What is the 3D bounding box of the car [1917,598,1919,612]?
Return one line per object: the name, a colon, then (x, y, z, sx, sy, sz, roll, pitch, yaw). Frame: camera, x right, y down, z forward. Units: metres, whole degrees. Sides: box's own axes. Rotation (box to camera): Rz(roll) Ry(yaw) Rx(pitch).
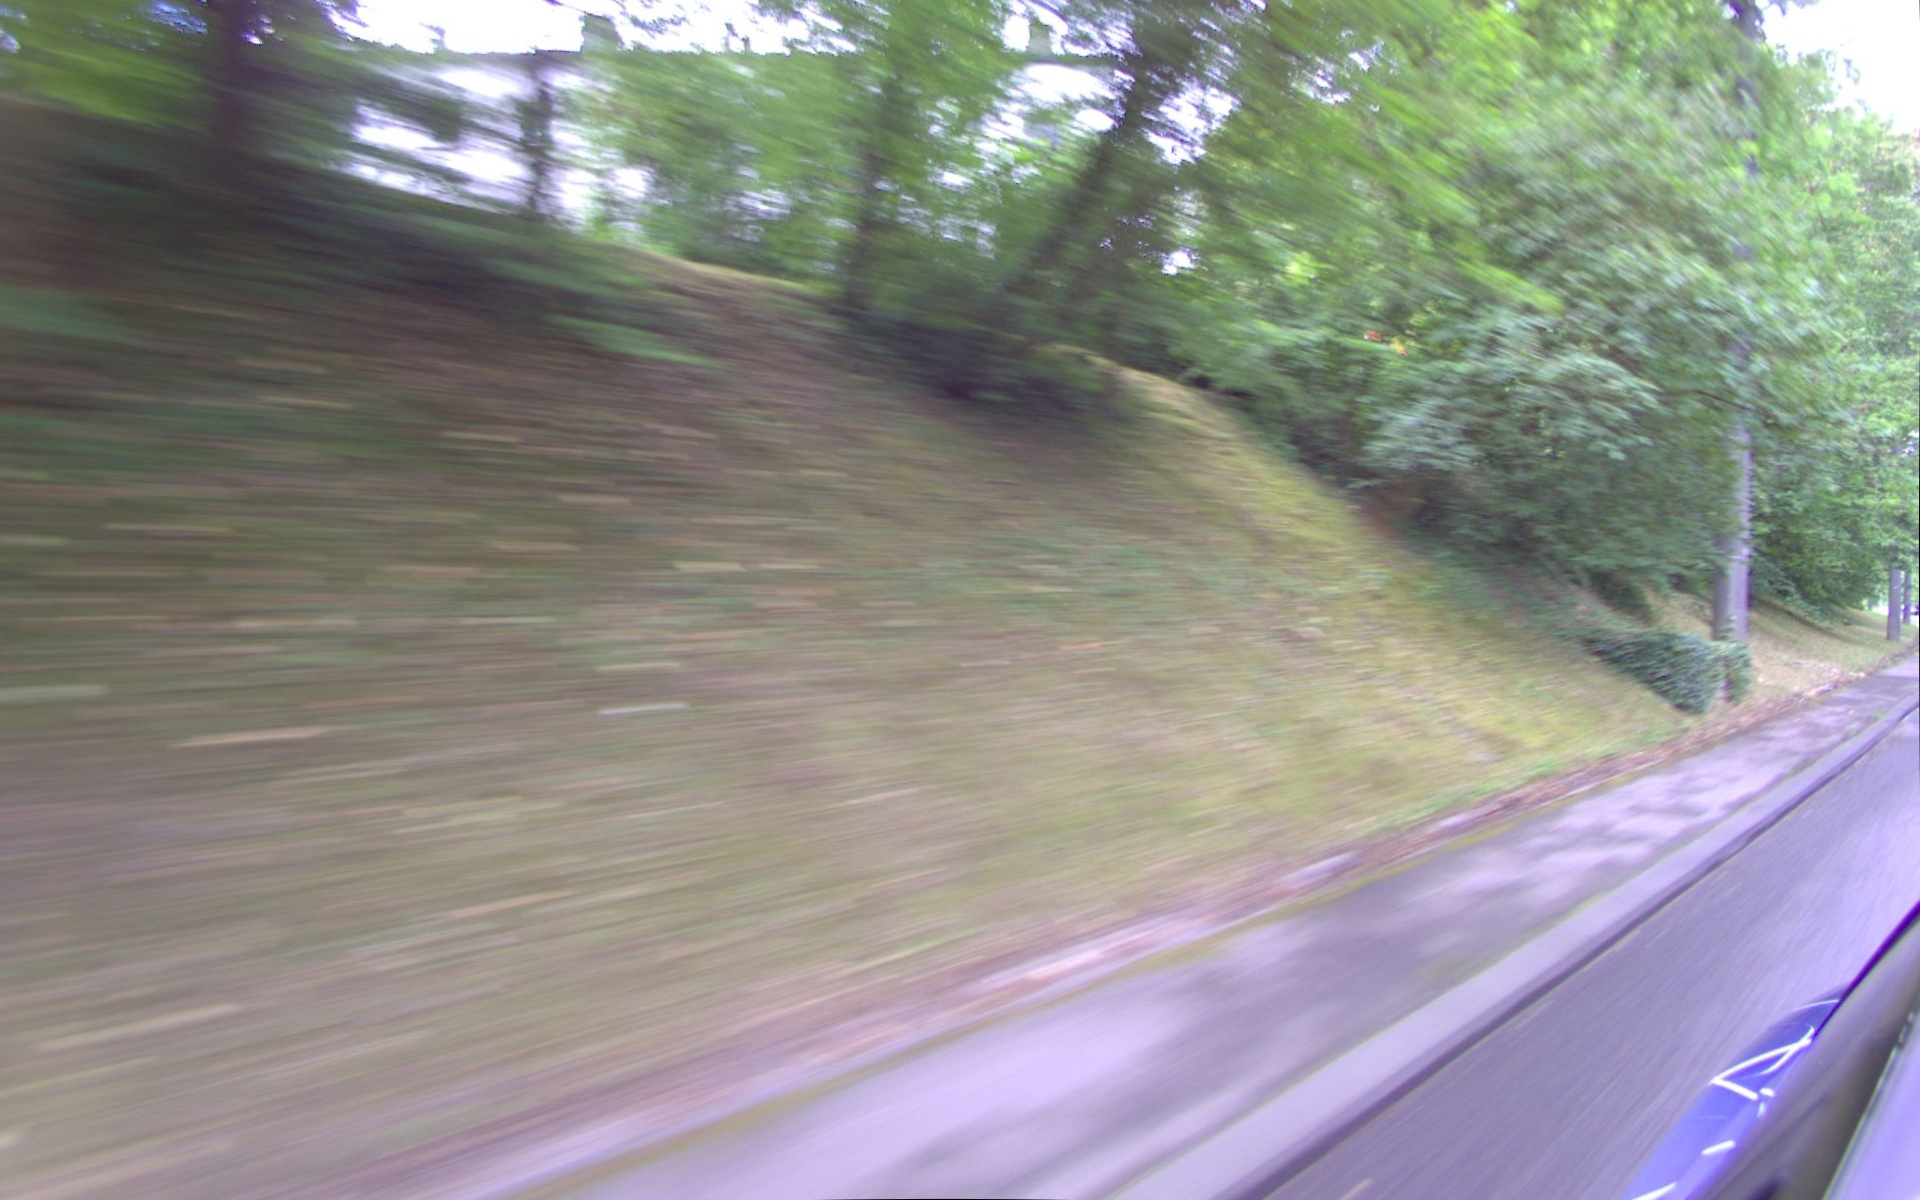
car: (112.608, 0.572, 117.543, 2.029, 1.527, 4.525, 0, 1, 43)
